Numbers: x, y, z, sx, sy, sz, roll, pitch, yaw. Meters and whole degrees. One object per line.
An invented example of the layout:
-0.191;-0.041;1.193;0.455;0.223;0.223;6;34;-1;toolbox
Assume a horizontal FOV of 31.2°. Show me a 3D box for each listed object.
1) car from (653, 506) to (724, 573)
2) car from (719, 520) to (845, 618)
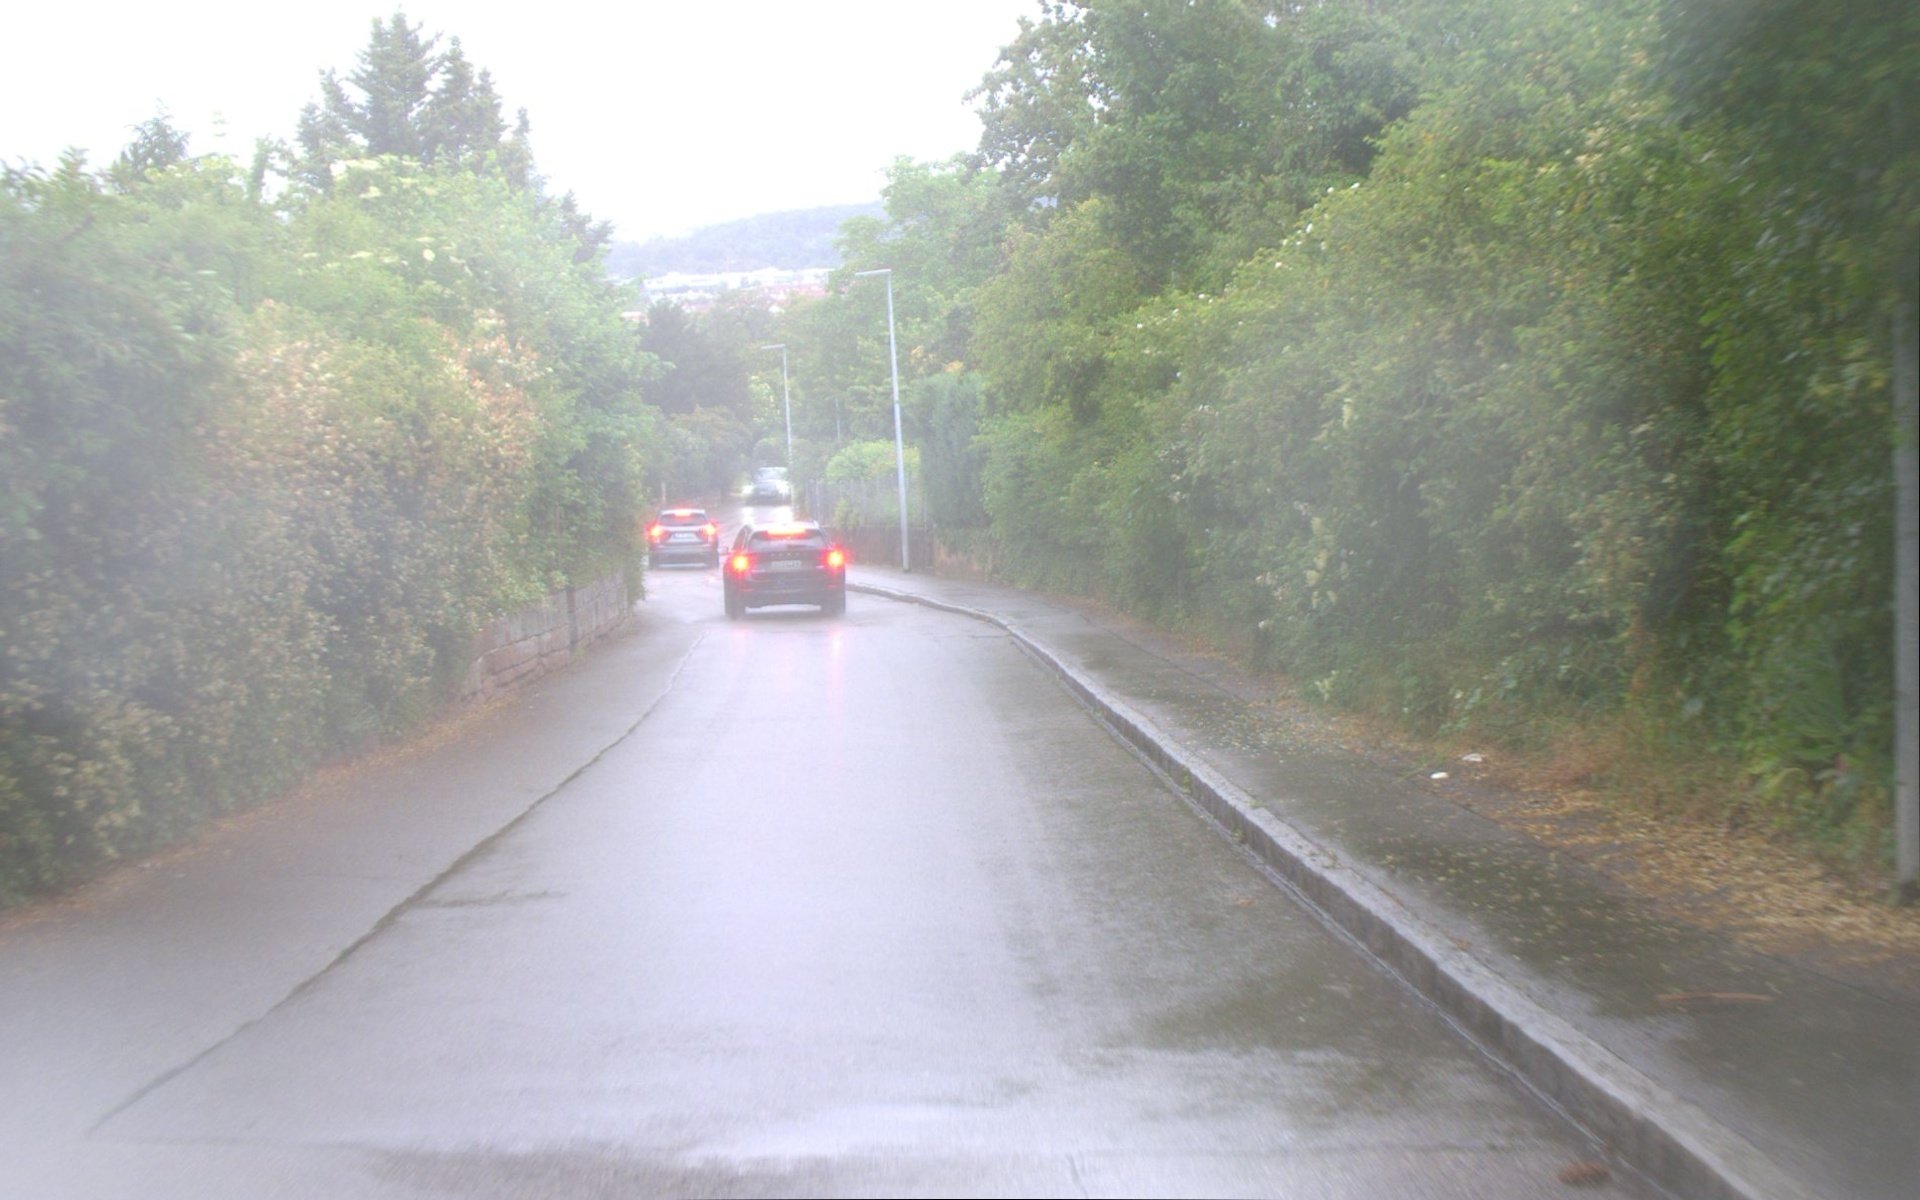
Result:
-7.020;-1.589;89.056;1.678;1.559;3.795;-1;3;-3;car
-2.791;-0.502;53.218;1.834;1.459;4.001;0;1;-5;car
